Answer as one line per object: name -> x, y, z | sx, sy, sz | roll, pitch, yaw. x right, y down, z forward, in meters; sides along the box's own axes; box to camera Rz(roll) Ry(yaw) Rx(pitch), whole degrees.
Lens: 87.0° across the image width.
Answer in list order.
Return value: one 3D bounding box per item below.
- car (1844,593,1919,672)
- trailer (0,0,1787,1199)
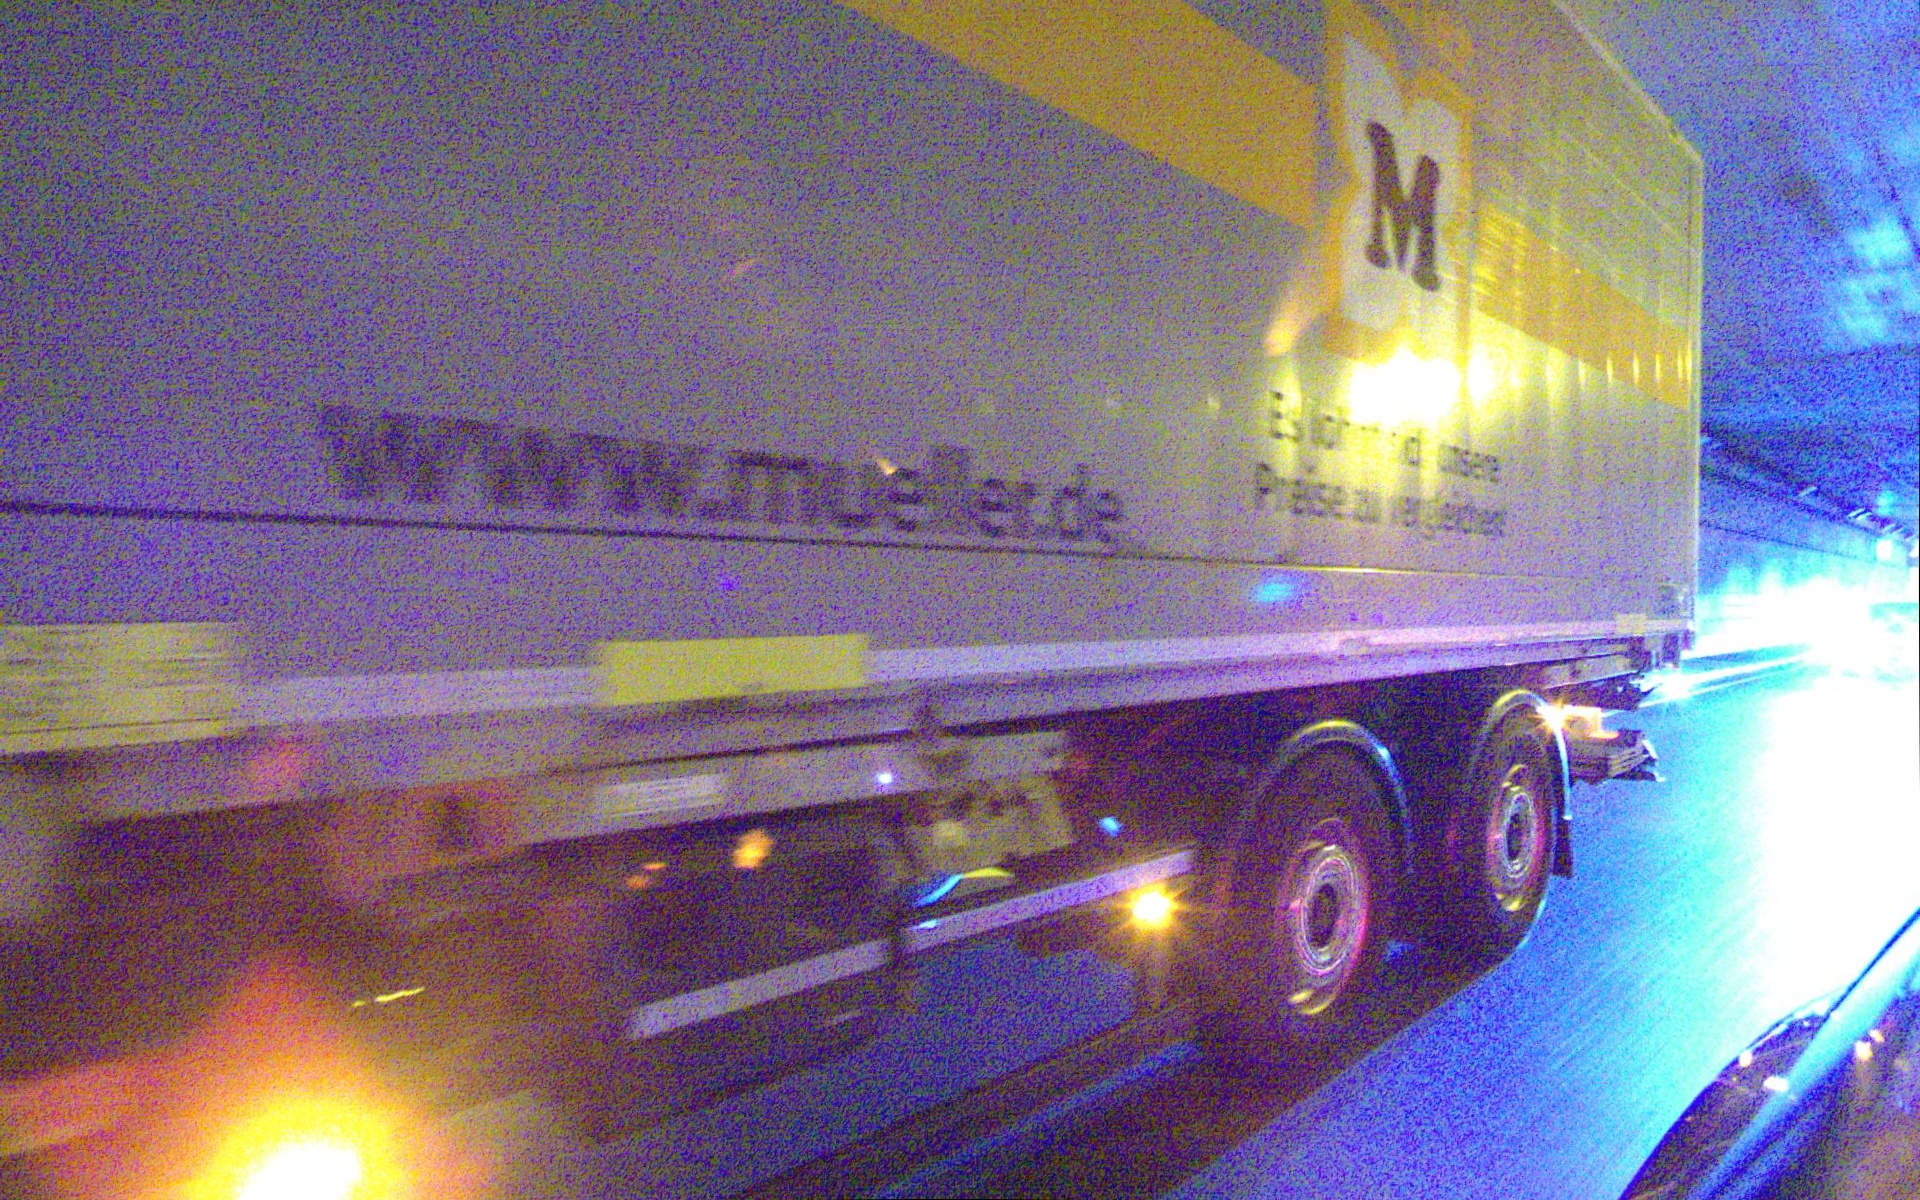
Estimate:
car -> 19.025, 0.591, 20.081 | 3.732, 1.420, 1.734 | -1, 1, -41
trailer -> 0.275, -0.715, 3.757 | 8.792, 3.906, 2.880 | 0, 2, -42
